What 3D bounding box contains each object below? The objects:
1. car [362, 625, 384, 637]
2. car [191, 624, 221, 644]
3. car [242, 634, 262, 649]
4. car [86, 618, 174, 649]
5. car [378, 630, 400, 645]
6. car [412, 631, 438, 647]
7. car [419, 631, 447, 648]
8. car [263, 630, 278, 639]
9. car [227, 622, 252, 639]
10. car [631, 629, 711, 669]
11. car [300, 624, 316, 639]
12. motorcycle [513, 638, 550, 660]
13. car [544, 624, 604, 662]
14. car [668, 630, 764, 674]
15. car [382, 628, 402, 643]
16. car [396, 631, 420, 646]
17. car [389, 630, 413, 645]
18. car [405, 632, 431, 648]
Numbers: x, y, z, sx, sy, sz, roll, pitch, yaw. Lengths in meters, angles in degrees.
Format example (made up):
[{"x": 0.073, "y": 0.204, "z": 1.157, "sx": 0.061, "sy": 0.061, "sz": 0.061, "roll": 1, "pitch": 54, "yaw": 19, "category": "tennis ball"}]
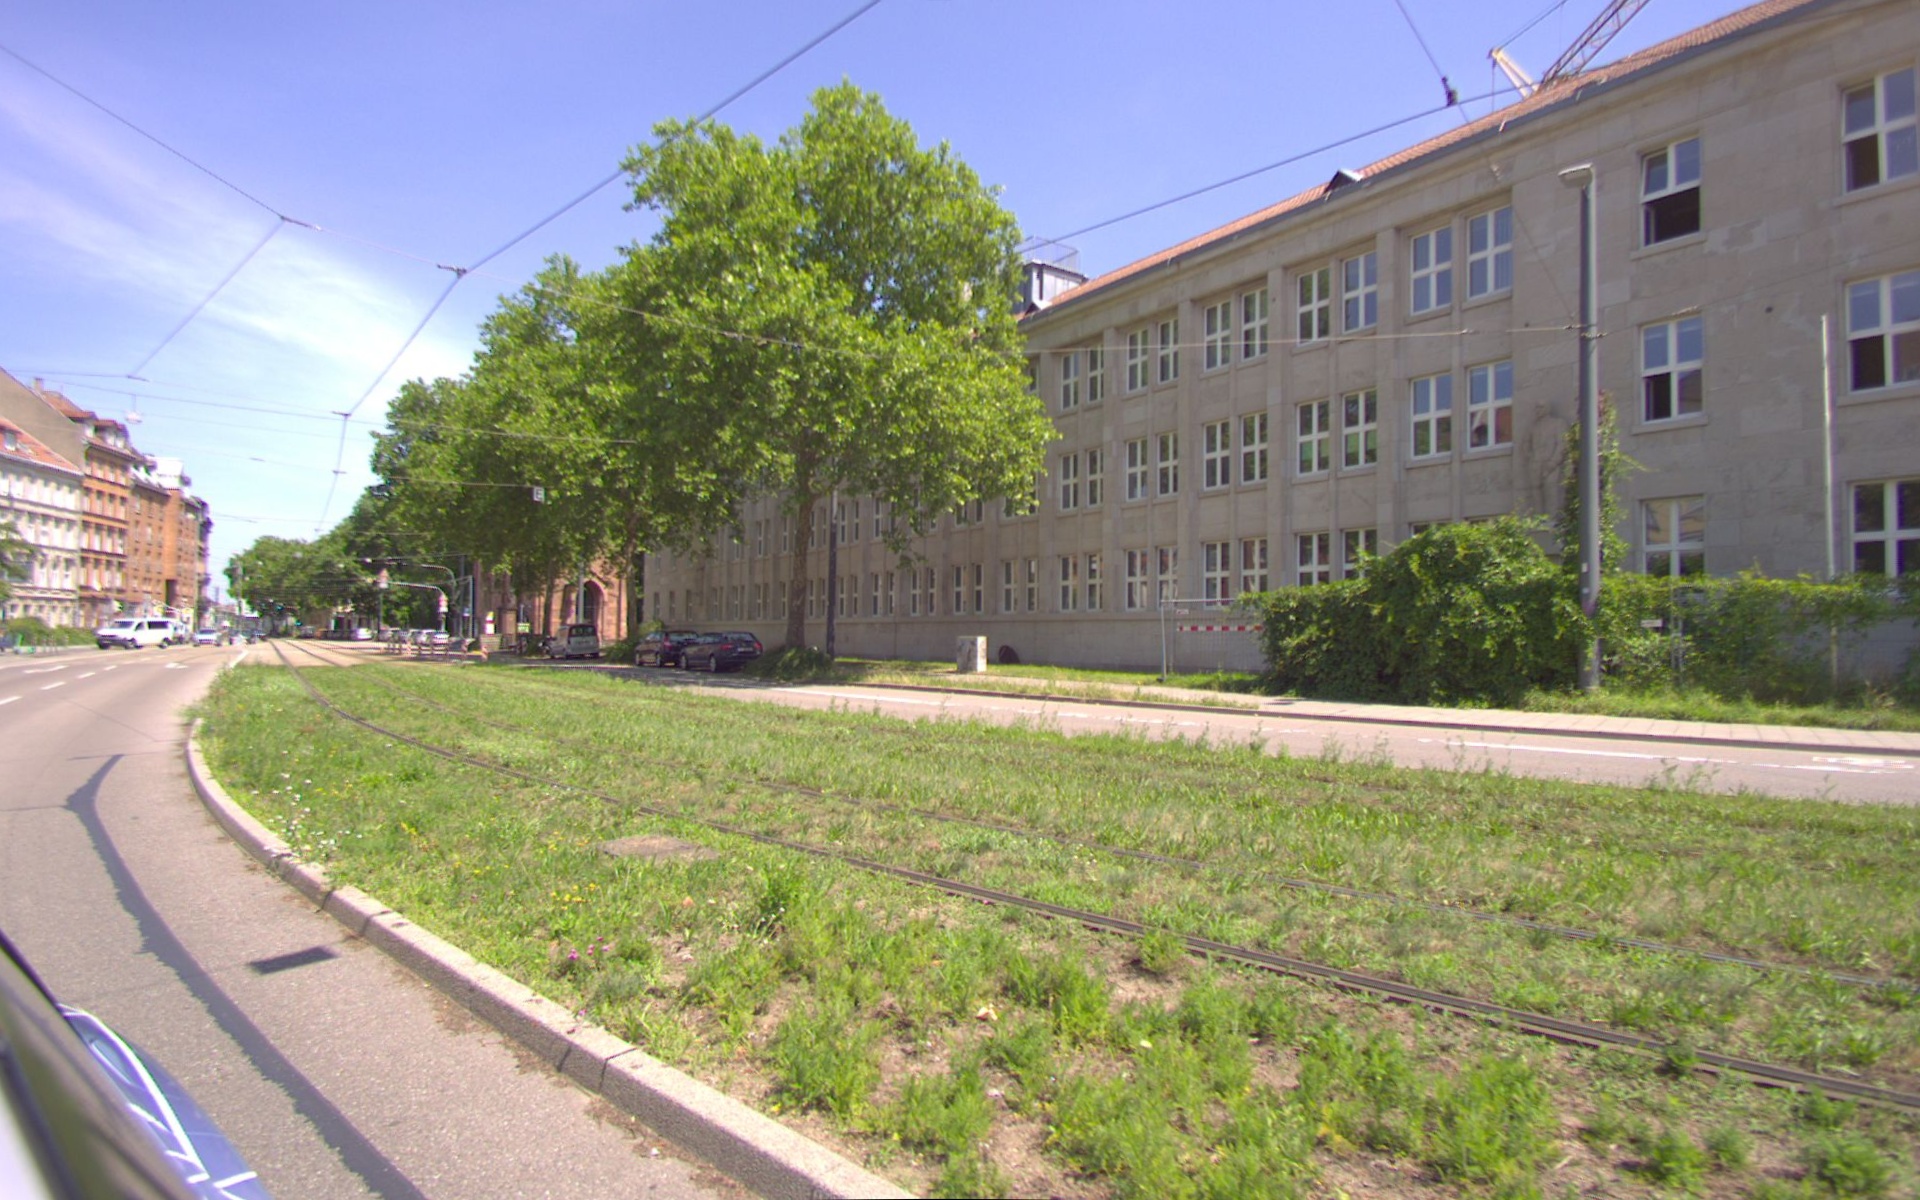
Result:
[{"x": -78.653, "y": 4.161, "z": 135.574, "sx": 1.946, "sy": 1.575, "sz": 4.008, "roll": 1, "pitch": -2, "yaw": -38, "category": "car"}, {"x": -61.557, "y": 2.804, "z": 82.682, "sx": 1.771, "sy": 1.586, "sz": 4.010, "roll": 1, "pitch": -2, "yaw": -34, "category": "car"}, {"x": -80.553, "y": 4.704, "z": 115.058, "sx": 1.772, "sy": 1.586, "sz": 4.009, "roll": 1, "pitch": -2, "yaw": -36, "category": "car"}, {"x": -54.091, "y": 2.166, "z": 66.083, "sx": 2.134, "sy": 1.953, "sz": 4.860, "roll": 0, "pitch": -2, "yaw": -6, "category": "car"}, {"x": -69.327, "y": 4.552, "z": 122.905, "sx": 1.967, "sy": 1.731, "sz": 4.010, "roll": 1, "pitch": -2, "yaw": -35, "category": "car"}, {"x": -50.349, "y": 3.616, "z": 95.175, "sx": 1.636, "sy": 1.470, "sz": 4.068, "roll": 1, "pitch": -2, "yaw": -35, "category": "car"}, {"x": -47.457, "y": 3.533, "z": 91.107, "sx": 1.636, "sy": 1.470, "sz": 4.231, "roll": 1, "pitch": -2, "yaw": -35, "category": "car"}, {"x": -111.902, "y": 5.599, "z": 164.330, "sx": 1.723, "sy": 1.405, "sz": 4.355, "roll": 0, "pitch": -1, "yaw": -38, "category": "car"}, {"x": -68.217, "y": 2.898, "z": 95.894, "sx": 1.771, "sy": 1.586, "sz": 4.010, "roll": 1, "pitch": -2, "yaw": -34, "category": "car"}, {"x": -11.389, "y": 1.883, "z": 39.654, "sx": 1.739, "sy": 1.494, "sz": 4.334, "roll": 1, "pitch": -2, "yaw": -34, "category": "car"}, {"x": -104.341, "y": 5.001, "z": 161.886, "sx": 1.793, "sy": 2.314, "sz": 3.769, "roll": 1, "pitch": -2, "yaw": -38, "category": "car"}, {"x": -23.130, "y": 2.627, "z": 54.705, "sx": 0.723, "sy": 1.076, "sz": 1.857, "roll": -1, "pitch": -1, "yaw": 24, "category": "motorcycle"}, {"x": -19.748, "y": 2.155, "z": 51.661, "sx": 1.966, "sy": 1.825, "sz": 4.312, "roll": 1, "pitch": -2, "yaw": -33, "category": "car"}, {"x": -8.550, "y": 1.767, "z": 35.171, "sx": 1.567, "sy": 1.434, "sz": 4.331, "roll": 1, "pitch": -2, "yaw": -39, "category": "car"}, {"x": -65.384, "y": 4.066, "z": 116.487, "sx": 1.719, "sy": 1.665, "sz": 3.915, "roll": 1, "pitch": -2, "yaw": -34, "category": "car"}, {"x": -56.606, "y": 3.941, "z": 103.727, "sx": 1.720, "sy": 1.470, "sz": 3.762, "roll": 1, "pitch": -2, "yaw": -36, "category": "car"}, {"x": -59.625, "y": 4.015, "z": 107.933, "sx": 1.720, "sy": 1.535, "sz": 3.762, "roll": 1, "pitch": -2, "yaw": -36, "category": "car"}, {"x": -53.054, "y": 3.878, "z": 99.075, "sx": 1.636, "sy": 1.470, "sz": 4.068, "roll": 1, "pitch": -2, "yaw": -36, "category": "car"}]
